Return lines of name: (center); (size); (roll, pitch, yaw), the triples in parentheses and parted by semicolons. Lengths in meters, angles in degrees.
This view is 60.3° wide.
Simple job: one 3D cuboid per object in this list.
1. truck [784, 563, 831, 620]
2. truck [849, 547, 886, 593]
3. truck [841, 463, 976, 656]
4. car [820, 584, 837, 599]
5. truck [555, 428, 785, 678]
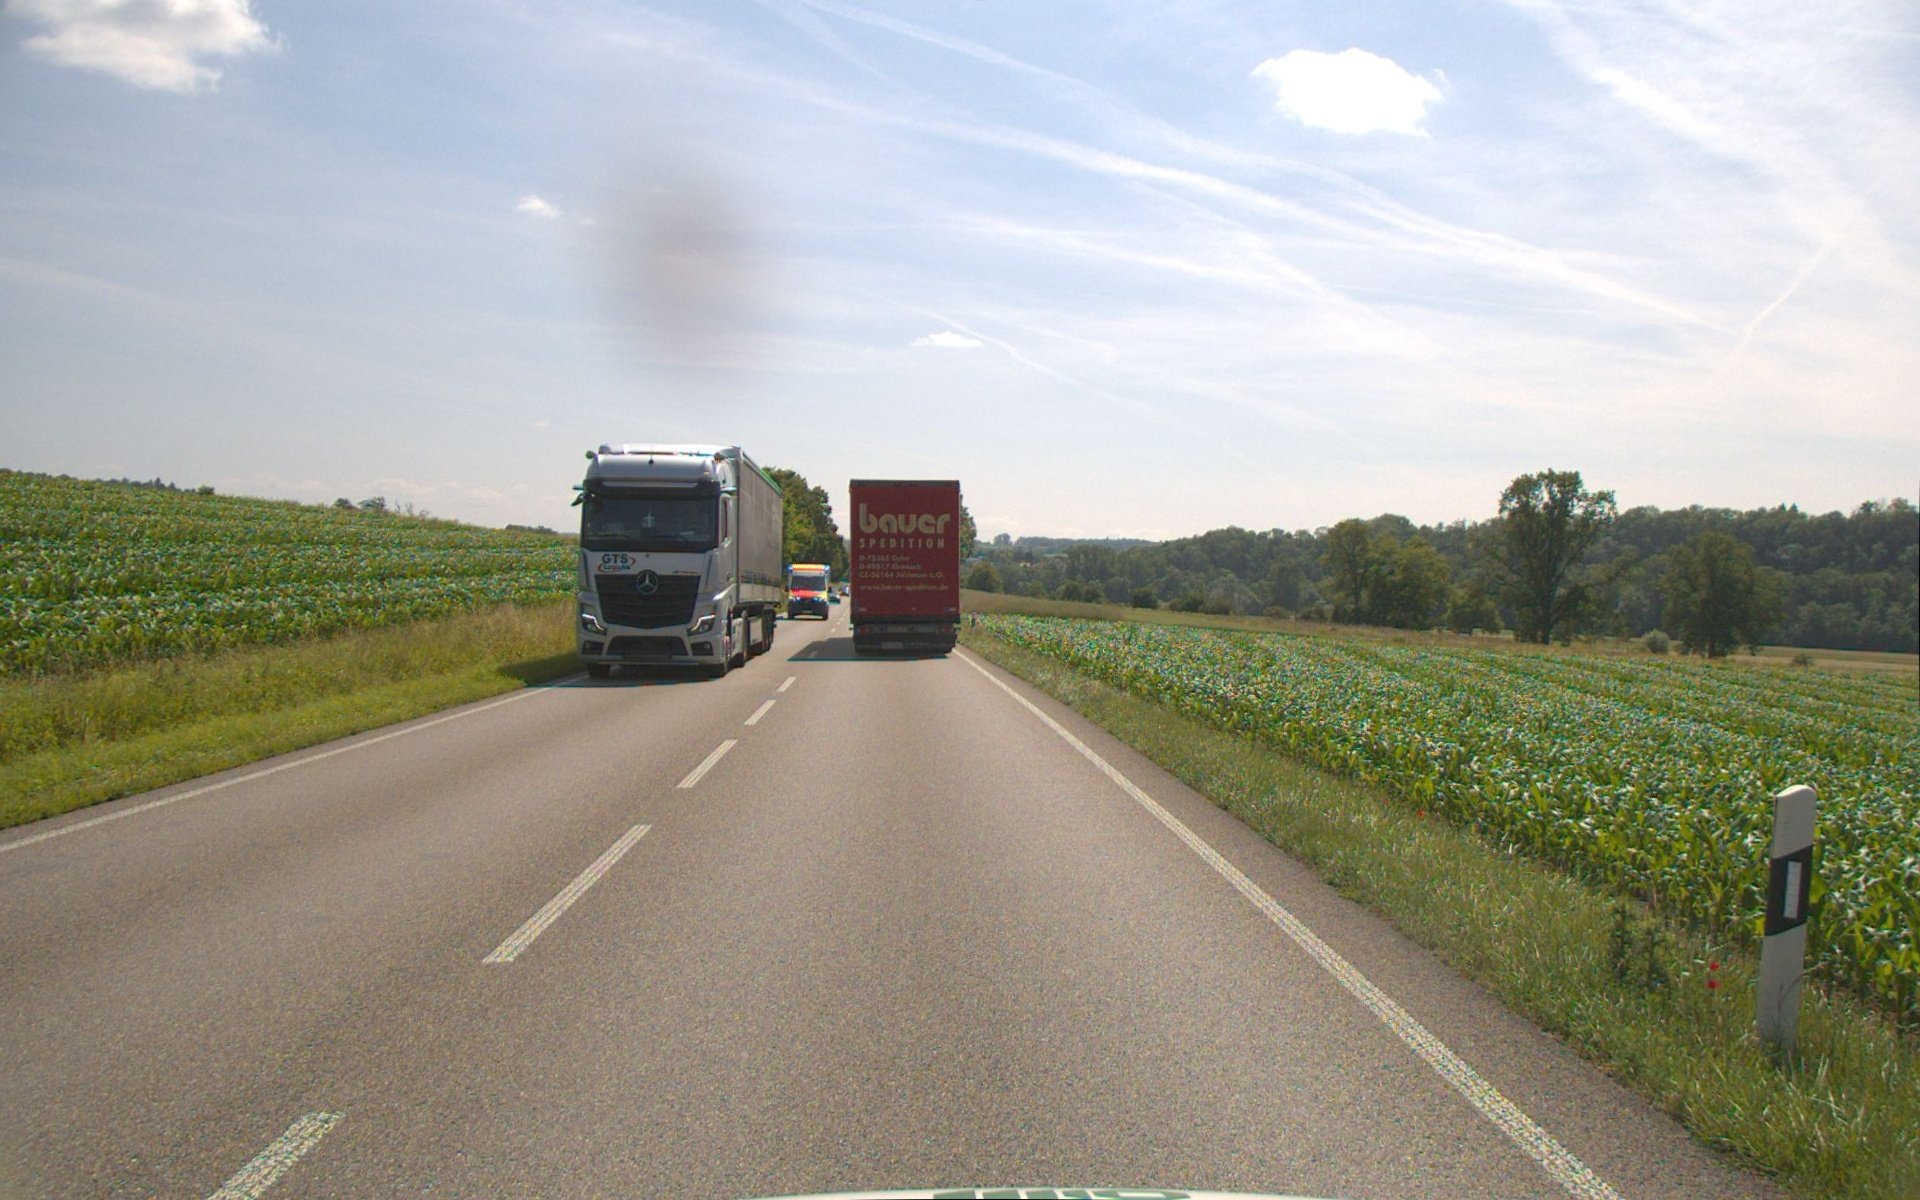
truck: (-7.578, -0.423, 82.781); (2.164, 2.718, 6.412); (0, 0, -4)
truck: (-9.631, -3.056, 172.808); (3.567, 4.367, 11.979); (1, -1, -2)
truck: (-1.288, -0.888, 41.642); (3.032, 4.337, 8.311); (0, 0, -2)
car: (-13.143, -0.846, 165.311); (1.640, 1.482, 4.347); (1, 1, -4)
truck: (-5.585, -0.803, 35.193); (2.770, 4.062, 16.524); (0, 0, -3)
